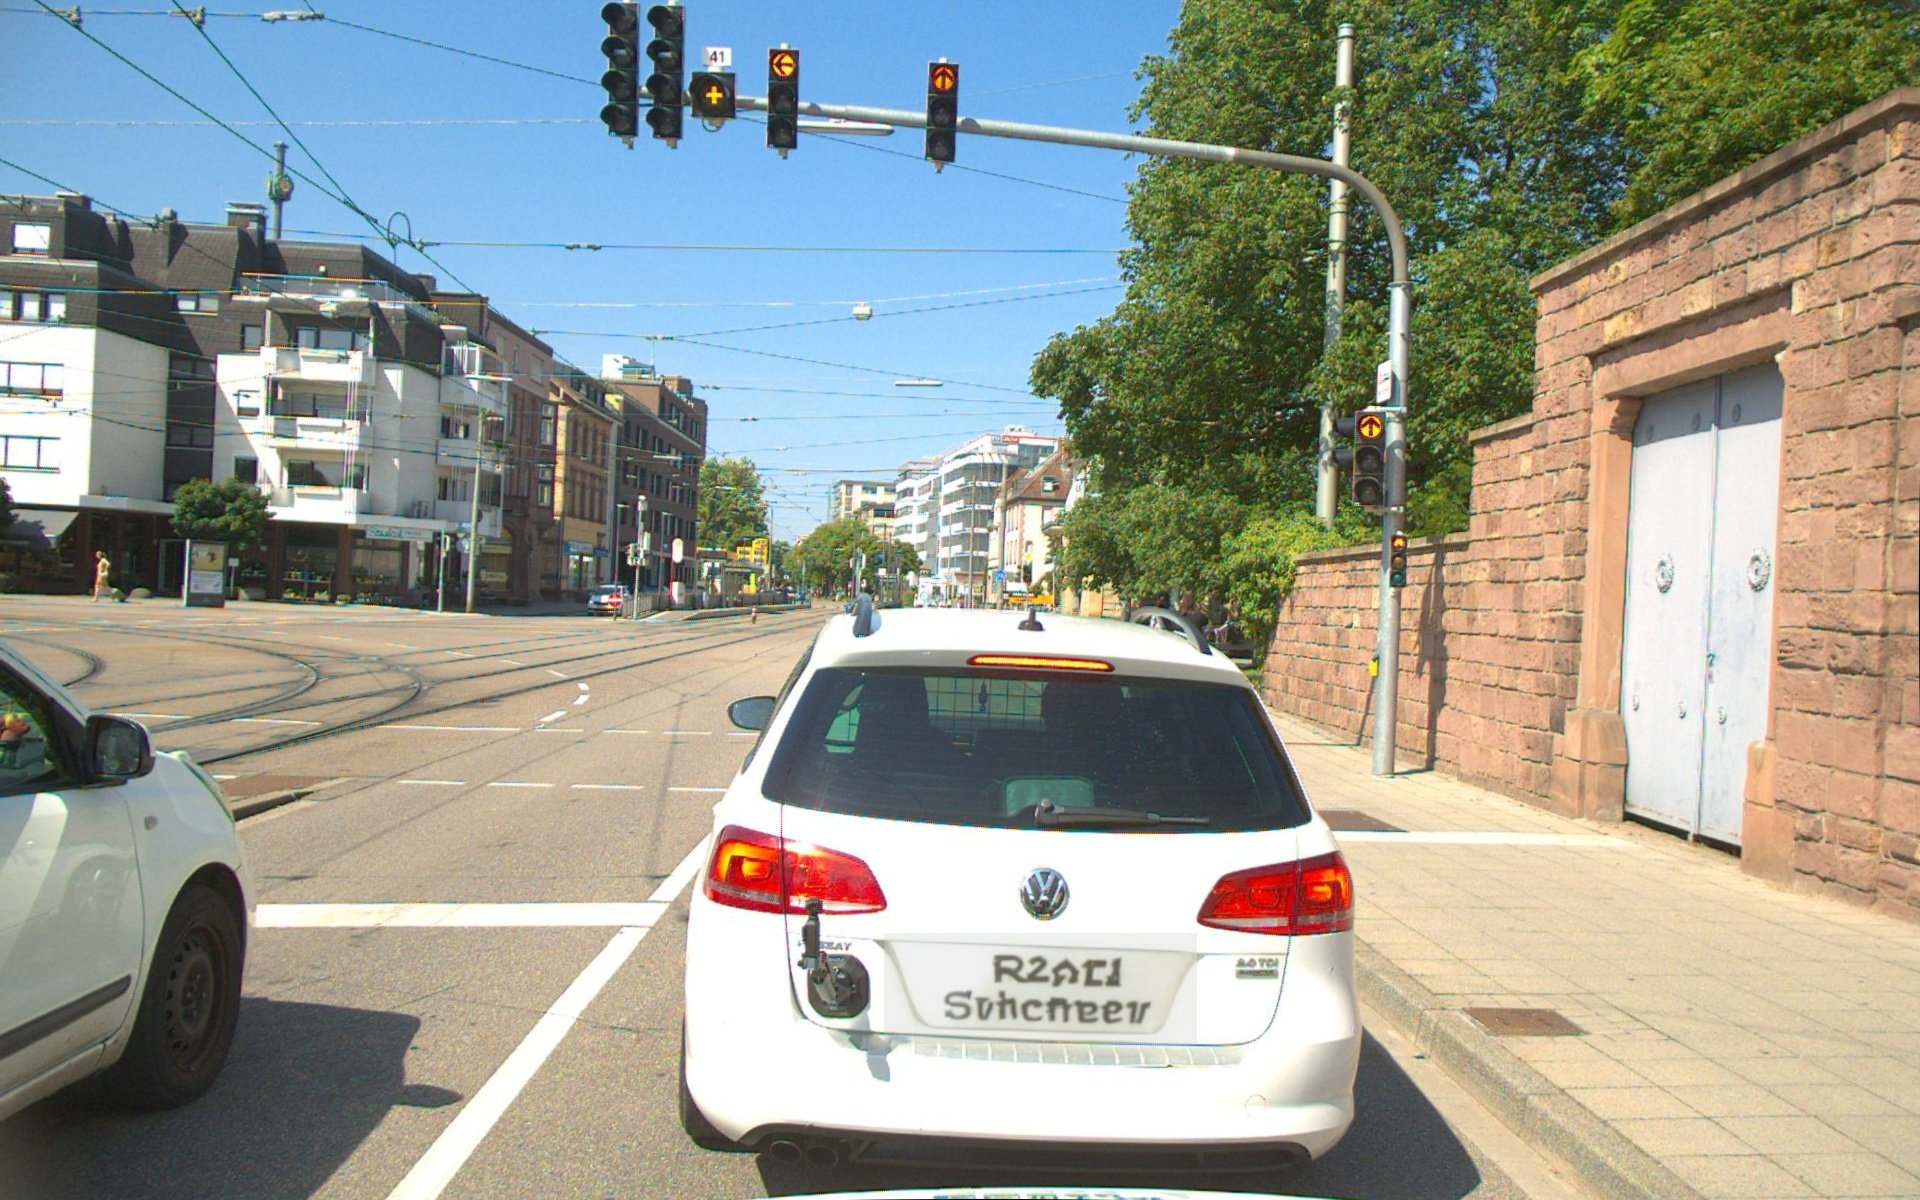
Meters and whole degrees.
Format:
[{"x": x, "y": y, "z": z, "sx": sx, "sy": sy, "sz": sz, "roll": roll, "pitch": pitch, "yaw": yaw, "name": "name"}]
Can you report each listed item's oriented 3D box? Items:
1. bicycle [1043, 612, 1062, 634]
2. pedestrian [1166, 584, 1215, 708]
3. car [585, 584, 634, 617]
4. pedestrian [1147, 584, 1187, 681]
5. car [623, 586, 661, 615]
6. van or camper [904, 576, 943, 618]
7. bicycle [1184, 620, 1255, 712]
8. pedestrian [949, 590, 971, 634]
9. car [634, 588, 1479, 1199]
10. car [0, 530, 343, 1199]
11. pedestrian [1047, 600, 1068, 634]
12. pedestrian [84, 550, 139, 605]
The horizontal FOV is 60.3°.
[{"x": 5.059, "y": 1.238, "z": 90.523, "sx": 0.710, "sy": 1.159, "sz": 2.196, "roll": 2, "pitch": 0, "yaw": 11, "name": "bicycle"}, {"x": 2.984, "y": 0.587, "z": 21.448, "sx": 0.529, "sy": 1.576, "sz": 0.663, "roll": 0, "pitch": 0, "yaw": -2, "name": "pedestrian"}, {"x": -16.960, "y": 0.037, "z": 80.134, "sx": 1.593, "sy": 1.456, "sz": 3.961, "roll": 4, "pitch": 0, "yaw": -3, "name": "car"}, {"x": 3.748, "y": 0.580, "z": 29.962, "sx": 0.636, "sy": 1.711, "sz": 0.708, "roll": 2, "pitch": 0, "yaw": 4, "name": "pedestrian"}, {"x": -17.227, "y": 0.018, "z": 89.772, "sx": 1.542, "sy": 1.484, "sz": 3.811, "roll": 2, "pitch": 0, "yaw": -4, "name": "car"}, {"x": -2.918, "y": -0.255, "z": 133.714, "sx": 2.884, "sy": 3.235, "sz": 6.612, "roll": 2, "pitch": 0, "yaw": 0, "name": "van or camper"}, {"x": 3.373, "y": 0.840, "z": 21.592, "sx": 0.525, "sy": 1.131, "sz": 1.805, "roll": 2, "pitch": -1, "yaw": -3, "name": "bicycle"}, {"x": 0.005, "y": 0.496, "z": 69.886, "sx": 0.813, "sy": 1.841, "sz": 0.829, "roll": 2, "pitch": 0, "yaw": 3, "name": "pedestrian"}, {"x": 0.178, "y": 0.722, "z": 5.357, "sx": 1.717, "sy": 1.442, "sz": 3.852, "roll": 2, "pitch": 0, "yaw": -1, "name": "car"}, {"x": -2.901, "y": 0.629, "z": 3.441, "sx": 1.730, "sy": 1.588, "sz": 4.066, "roll": 1, "pitch": 0, "yaw": -1, "name": "car"}, {"x": 4.477, "y": 0.794, "z": 76.132, "sx": 0.837, "sy": 1.536, "sz": 0.782, "roll": 2, "pitch": 0, "yaw": 10, "name": "pedestrian"}, {"x": -29.994, "y": -0.792, "z": 58.464, "sx": 1.104, "sy": 1.868, "sz": 1.429, "roll": 2, "pitch": 0, "yaw": 44, "name": "pedestrian"}]
